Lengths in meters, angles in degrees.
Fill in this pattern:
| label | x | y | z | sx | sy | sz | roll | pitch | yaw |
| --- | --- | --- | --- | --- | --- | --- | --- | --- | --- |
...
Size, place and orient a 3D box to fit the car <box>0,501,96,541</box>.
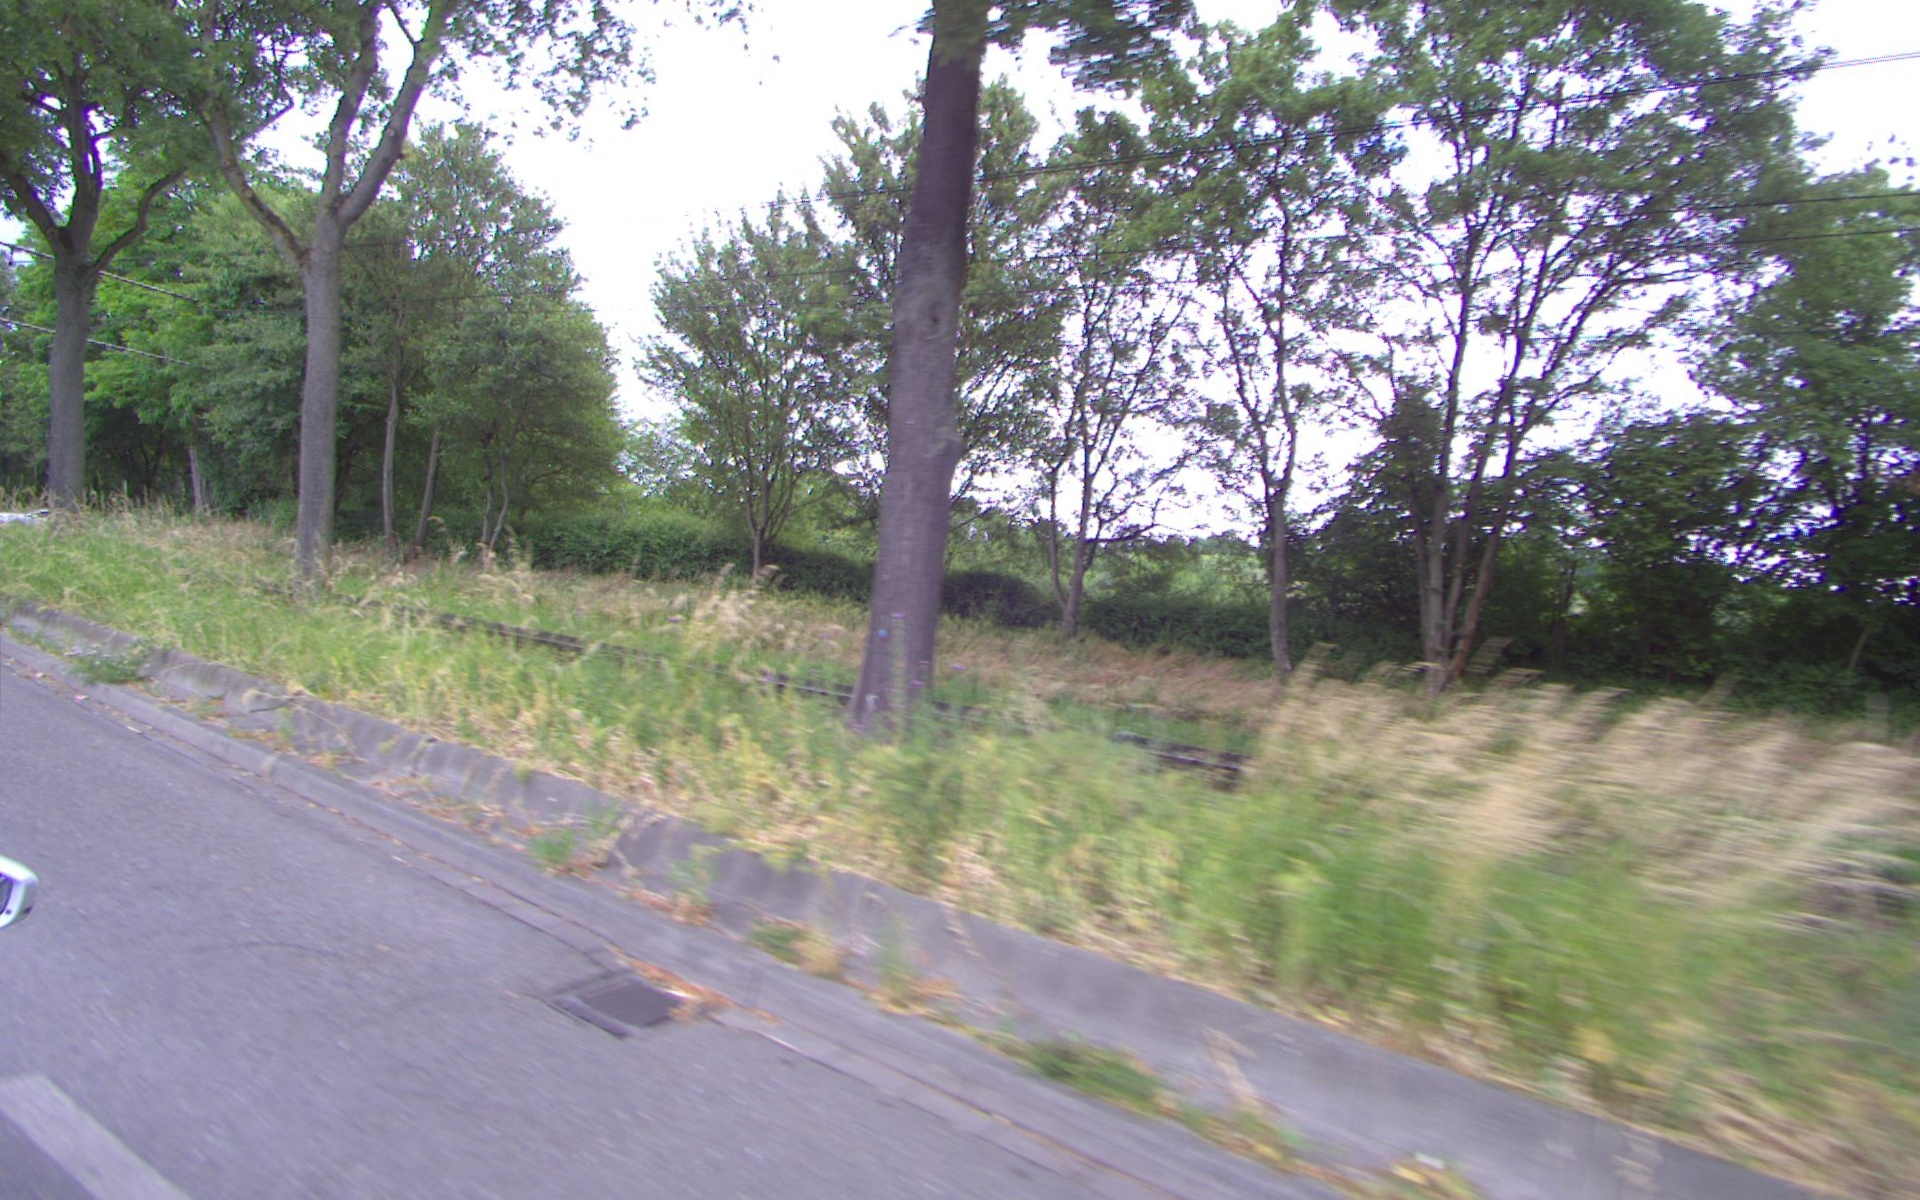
| label | x | y | z | sx | sy | sz | roll | pitch | yaw |
| --- | --- | --- | --- | --- | --- | --- | --- | --- | --- |
| car | -49.667 | -4.283 | 54.313 | 1.965 | 1.368 | 4.004 | 7 | -4 | 27 |
